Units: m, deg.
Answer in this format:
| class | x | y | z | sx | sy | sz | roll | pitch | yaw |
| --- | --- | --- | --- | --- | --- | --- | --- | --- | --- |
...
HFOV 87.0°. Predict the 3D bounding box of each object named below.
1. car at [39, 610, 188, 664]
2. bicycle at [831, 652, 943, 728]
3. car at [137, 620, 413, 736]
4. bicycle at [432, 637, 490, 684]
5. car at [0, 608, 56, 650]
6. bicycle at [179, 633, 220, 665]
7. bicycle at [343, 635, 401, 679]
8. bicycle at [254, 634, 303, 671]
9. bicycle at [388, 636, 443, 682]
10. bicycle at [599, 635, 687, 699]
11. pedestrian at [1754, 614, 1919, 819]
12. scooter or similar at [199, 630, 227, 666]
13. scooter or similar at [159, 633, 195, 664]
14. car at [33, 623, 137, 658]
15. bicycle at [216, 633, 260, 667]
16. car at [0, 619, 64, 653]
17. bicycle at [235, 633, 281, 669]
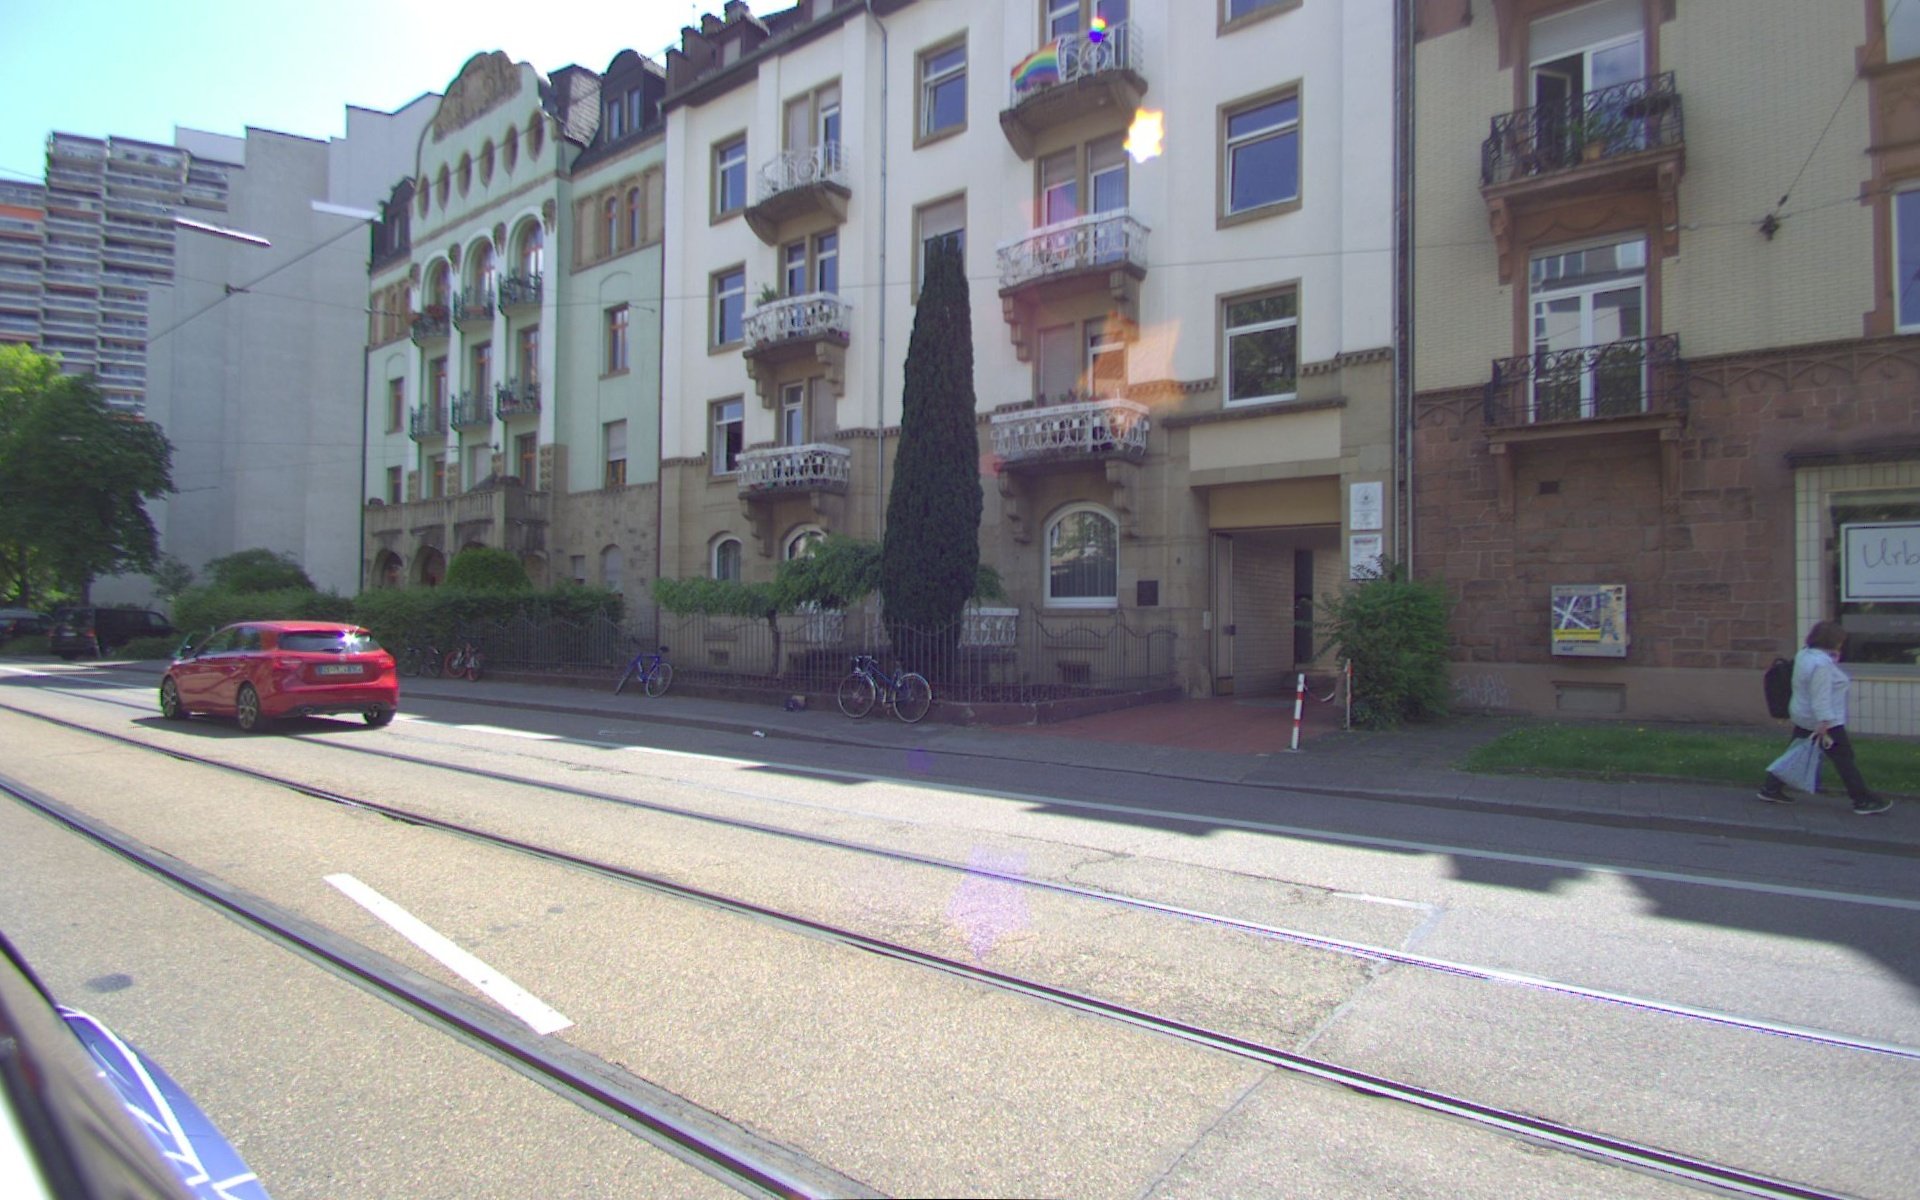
| class | x | y | z | sx | sy | sz | roll | pitch | yaw |
| --- | --- | --- | --- | --- | --- | --- | --- | --- | --- |
| car | -32.853 | 1.433 | 39.482 | 1.935 | 1.940 | 4.585 | 0 | -2 | 0 |
| bicycle | -1.097 | 1.305 | 14.908 | 1.838 | 0.968 | 0.406 | 0 | 2 | 38 |
| car | -9.844 | 1.031 | 14.438 | 4.419 | 1.424 | 1.806 | -1 | -4 | 36 |
| bicycle | -11.205 | 1.337 | 22.702 | 1.723 | 0.973 | 0.409 | -1 | 1 | 38 |
| car | -48.461 | 1.478 | 51.414 | 1.578 | 2.058 | 4.055 | 0 | -2 | -3 |
| bicycle | -25.136 | 1.614 | 33.451 | 1.705 | 0.996 | 0.602 | -1 | 1 | 37 |
| bicycle | -14.840 | 1.419 | 25.512 | 1.768 | 1.040 | 0.602 | -1 | 1 | 37 |
| bicycle | -19.526 | 1.499 | 28.985 | 1.768 | 0.983 | 0.602 | -1 | 1 | 37 |
| bicycle | -12.762 | 1.362 | 23.693 | 1.705 | 1.007 | 0.460 | -1 | 1 | 38 |
| bicycle | -5.862 | 1.211 | 18.648 | 1.768 | 1.073 | 0.602 | -1 | 1 | 37 |
| pedestrian | 7.216 | 0.903 | 8.308 | 0.981 | 1.554 | 0.893 | -1 | -2 | 33 |
| scooter or similar | -23.927 | 1.531 | 32.417 | 1.289 | 1.129 | 0.402 | -1 | -2 | 40 |
| scooter or similar | -26.769 | 1.657 | 34.592 | 1.215 | 1.028 | 0.404 | 0 | -2 | 22 |
| car | -37.857 | 1.750 | 43.899 | 1.699 | 1.465 | 3.634 | 1 | -2 | -9 |
| bicycle | -22.419 | 1.541 | 31.395 | 1.705 | 0.996 | 0.602 | -1 | 1 | 37 |
| car | -45.825 | 1.737 | 49.098 | 1.657 | 1.587 | 3.688 | 1 | -2 | -5 |
| bicycle | -20.961 | 1.510 | 30.213 | 1.705 | 0.996 | 0.602 | -1 | 1 | 37 |
